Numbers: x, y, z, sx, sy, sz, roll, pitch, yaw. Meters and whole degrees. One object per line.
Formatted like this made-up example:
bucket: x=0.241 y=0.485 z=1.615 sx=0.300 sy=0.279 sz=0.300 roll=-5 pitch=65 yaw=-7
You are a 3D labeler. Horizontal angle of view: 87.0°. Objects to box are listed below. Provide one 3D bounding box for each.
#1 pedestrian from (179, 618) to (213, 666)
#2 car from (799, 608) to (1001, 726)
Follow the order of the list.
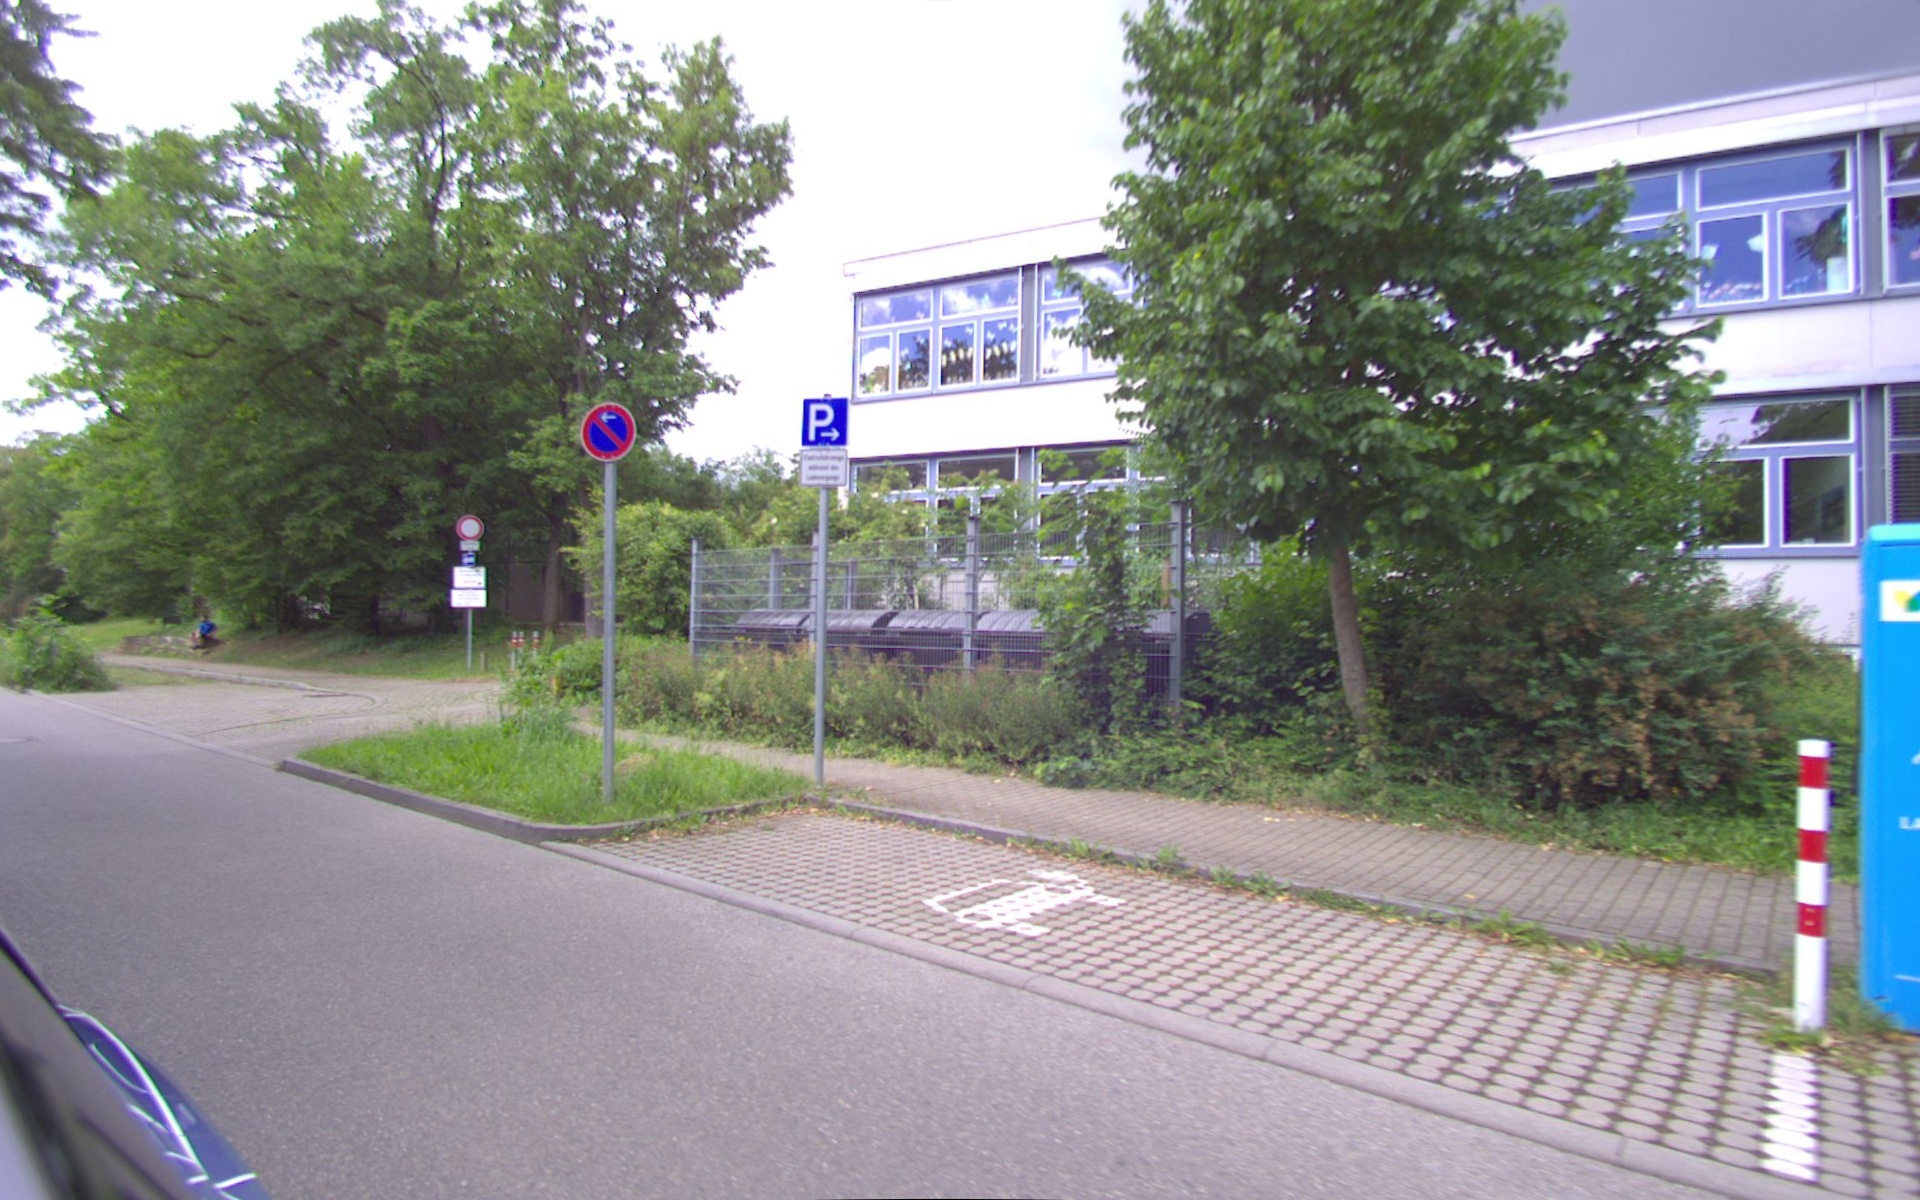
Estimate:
pedestrian: x=-27.447 y=1.513 z=36.370 sx=0.808 sy=1.675 sz=0.752 roll=-2 pitch=-3 yaw=38
car: x=-1.254 y=1.237 z=19.541 sx=1.968 sy=2.029 sz=4.008 roll=3 pitch=-3 yaw=-38
